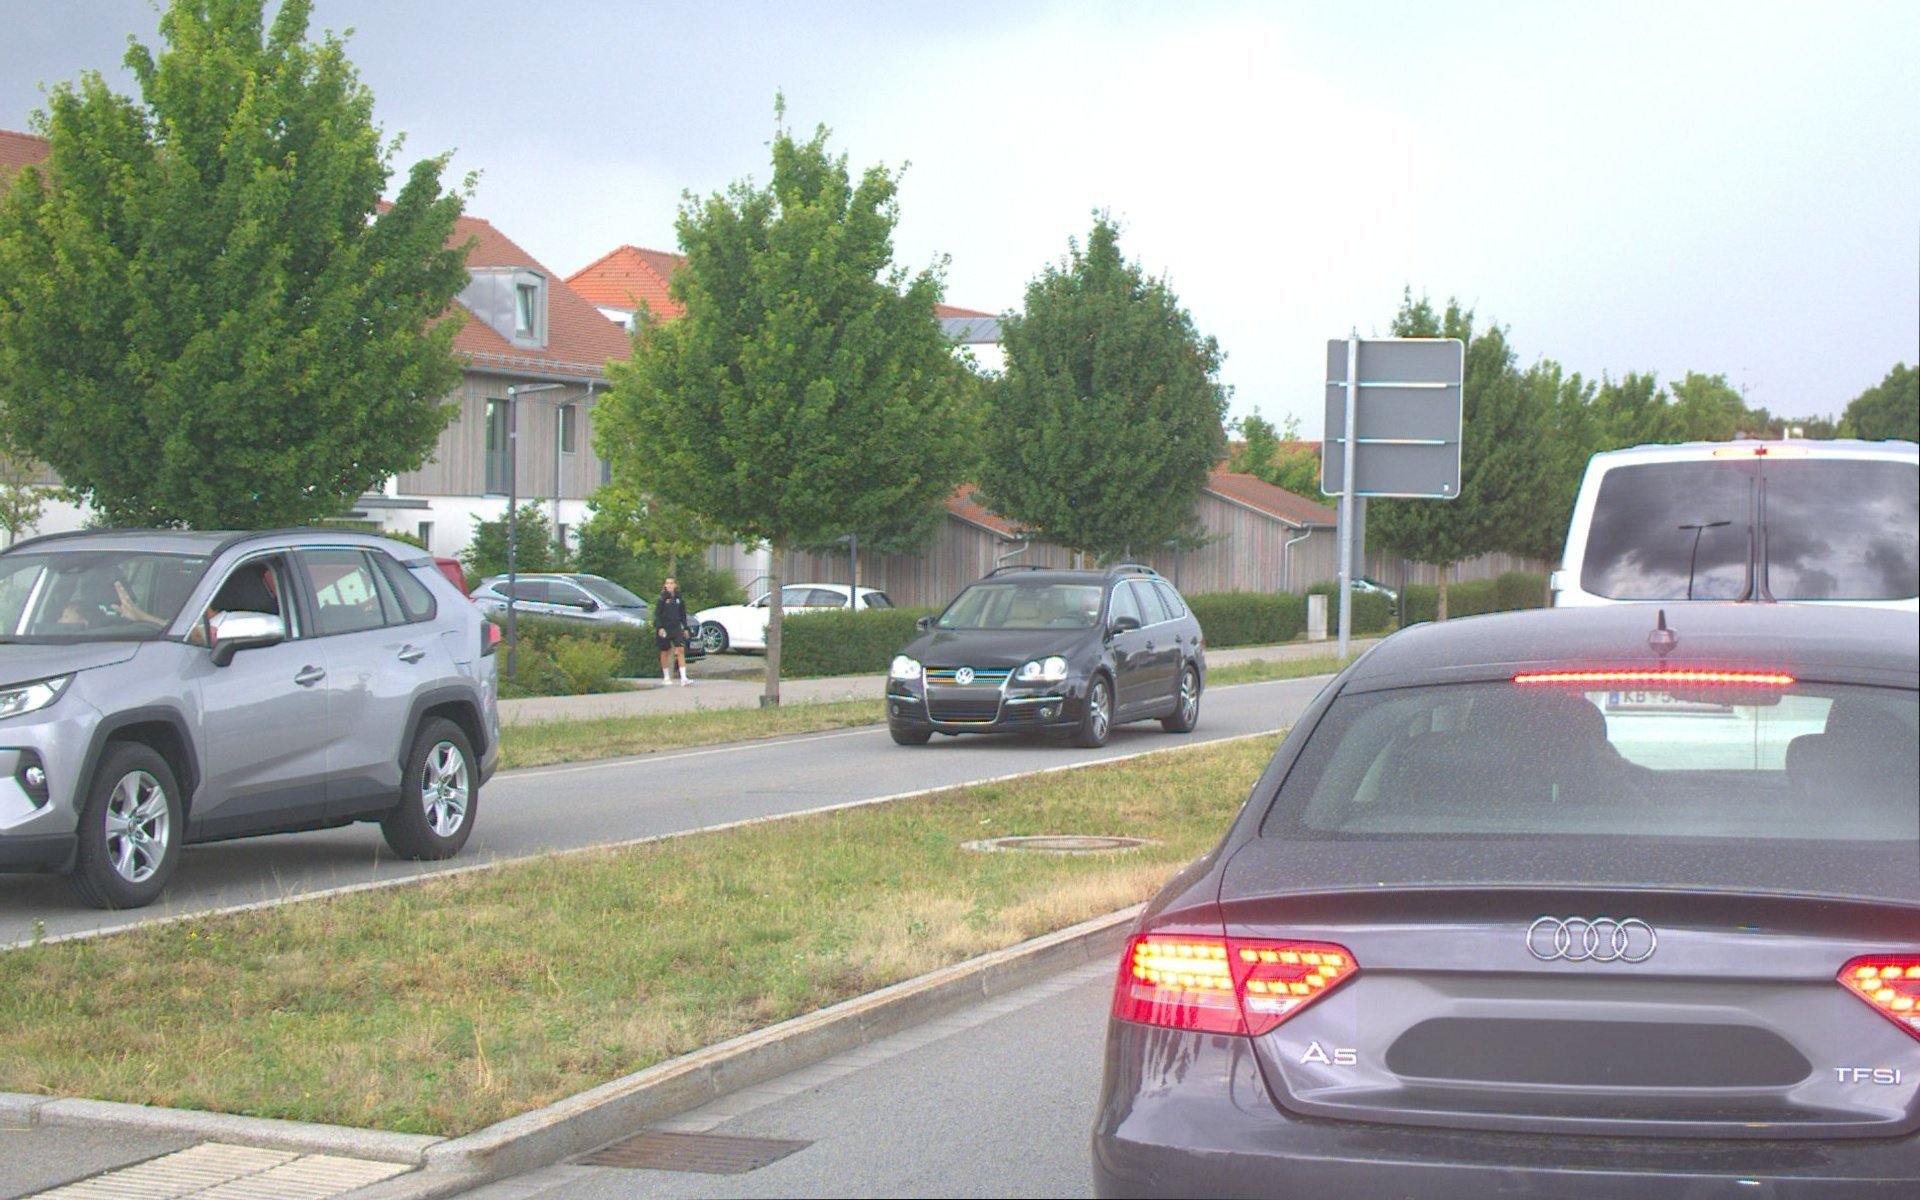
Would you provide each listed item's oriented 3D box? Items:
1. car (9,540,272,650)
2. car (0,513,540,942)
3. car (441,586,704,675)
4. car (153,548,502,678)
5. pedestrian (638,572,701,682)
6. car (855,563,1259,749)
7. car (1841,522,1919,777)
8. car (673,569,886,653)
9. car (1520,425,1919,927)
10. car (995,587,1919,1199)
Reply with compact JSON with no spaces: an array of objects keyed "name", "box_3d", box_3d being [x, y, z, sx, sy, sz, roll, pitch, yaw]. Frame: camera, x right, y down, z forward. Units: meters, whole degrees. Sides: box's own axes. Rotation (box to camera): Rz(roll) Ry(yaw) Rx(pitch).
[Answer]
[{"name":"car","box_3d":[-13.921,-0.089,58.650,1.996,1.766,4.459,2,1,25]},{"name":"car","box_3d":[-3.936,0.470,16.038,1.996,1.698,4.630,1,1,21]},{"name":"car","box_3d":[-6.430,0.489,57.130,3.918,1.310,1.841,2,1,18]},{"name":"car","box_3d":[-9.050,0.152,49.189,4.536,1.674,1.998,2,1,23]},{"name":"pedestrian","box_3d":[-4.182,0.380,49.556,0.659,1.553,0.582,2,1,30]},{"name":"car","box_3d":[0.911,0.407,28.892,1.756,1.411,4.449,1,1,25]},{"name":"car","box_3d":[7.181,0.309,23.614,1.778,1.612,3.996,2,1,20]},{"name":"car","box_3d":[-3.468,0.197,66.288,3.732,1.477,1.685,2,1,17]},{"name":"car","box_3d":[3.786,0.262,15.583,1.869,1.927,3.997,3,2,17]},{"name":"car","box_3d":[1.522,0.713,6.800,1.785,1.387,4.129,2,1,17]}]
